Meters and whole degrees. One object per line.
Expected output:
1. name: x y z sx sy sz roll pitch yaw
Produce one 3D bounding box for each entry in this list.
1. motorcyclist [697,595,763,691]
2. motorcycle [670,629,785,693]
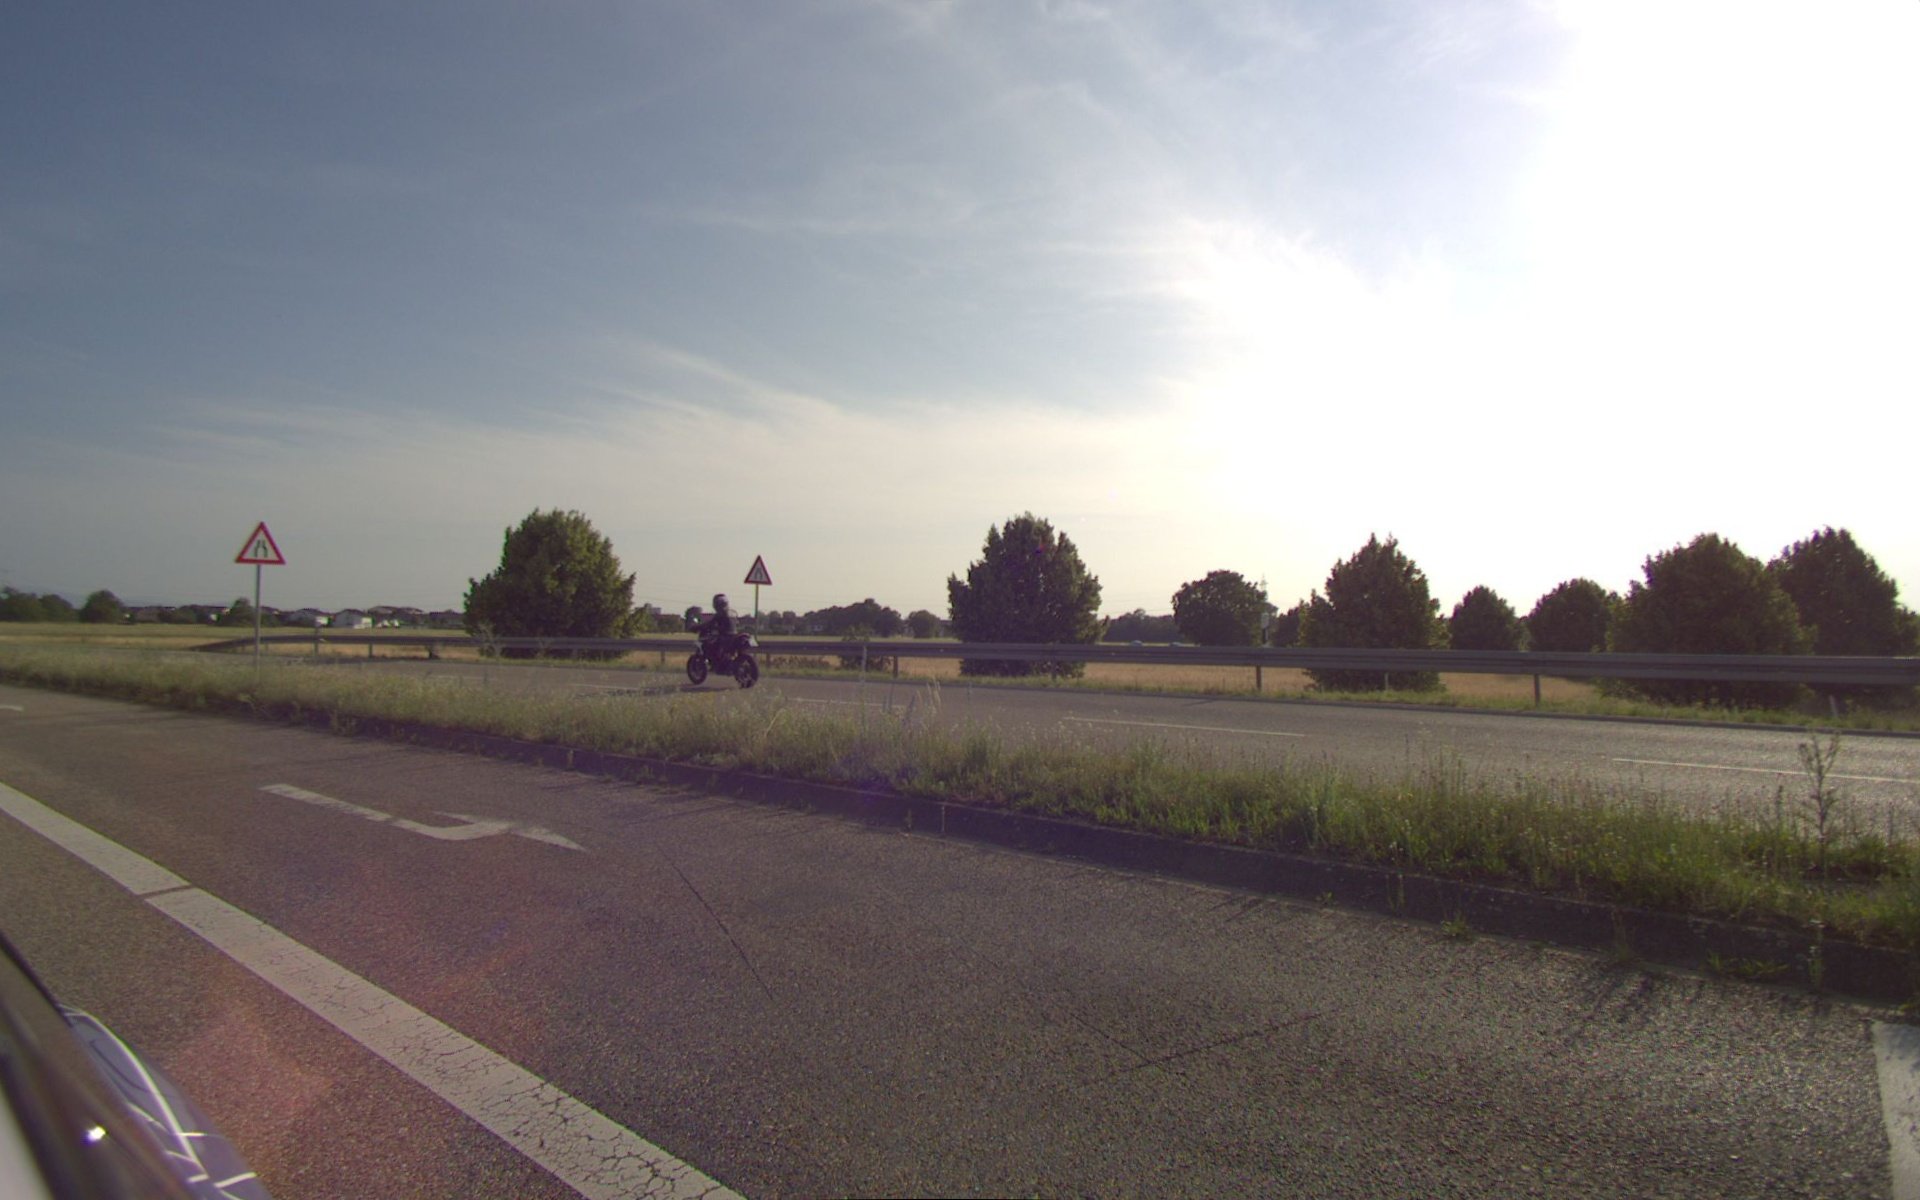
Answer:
1. motorcyclist: -4.376 0.797 19.298 0.830 1.771 0.896 -1 -1 35
2. motorcycle: -4.464 1.132 19.368 2.166 1.133 0.929 -1 -1 35
